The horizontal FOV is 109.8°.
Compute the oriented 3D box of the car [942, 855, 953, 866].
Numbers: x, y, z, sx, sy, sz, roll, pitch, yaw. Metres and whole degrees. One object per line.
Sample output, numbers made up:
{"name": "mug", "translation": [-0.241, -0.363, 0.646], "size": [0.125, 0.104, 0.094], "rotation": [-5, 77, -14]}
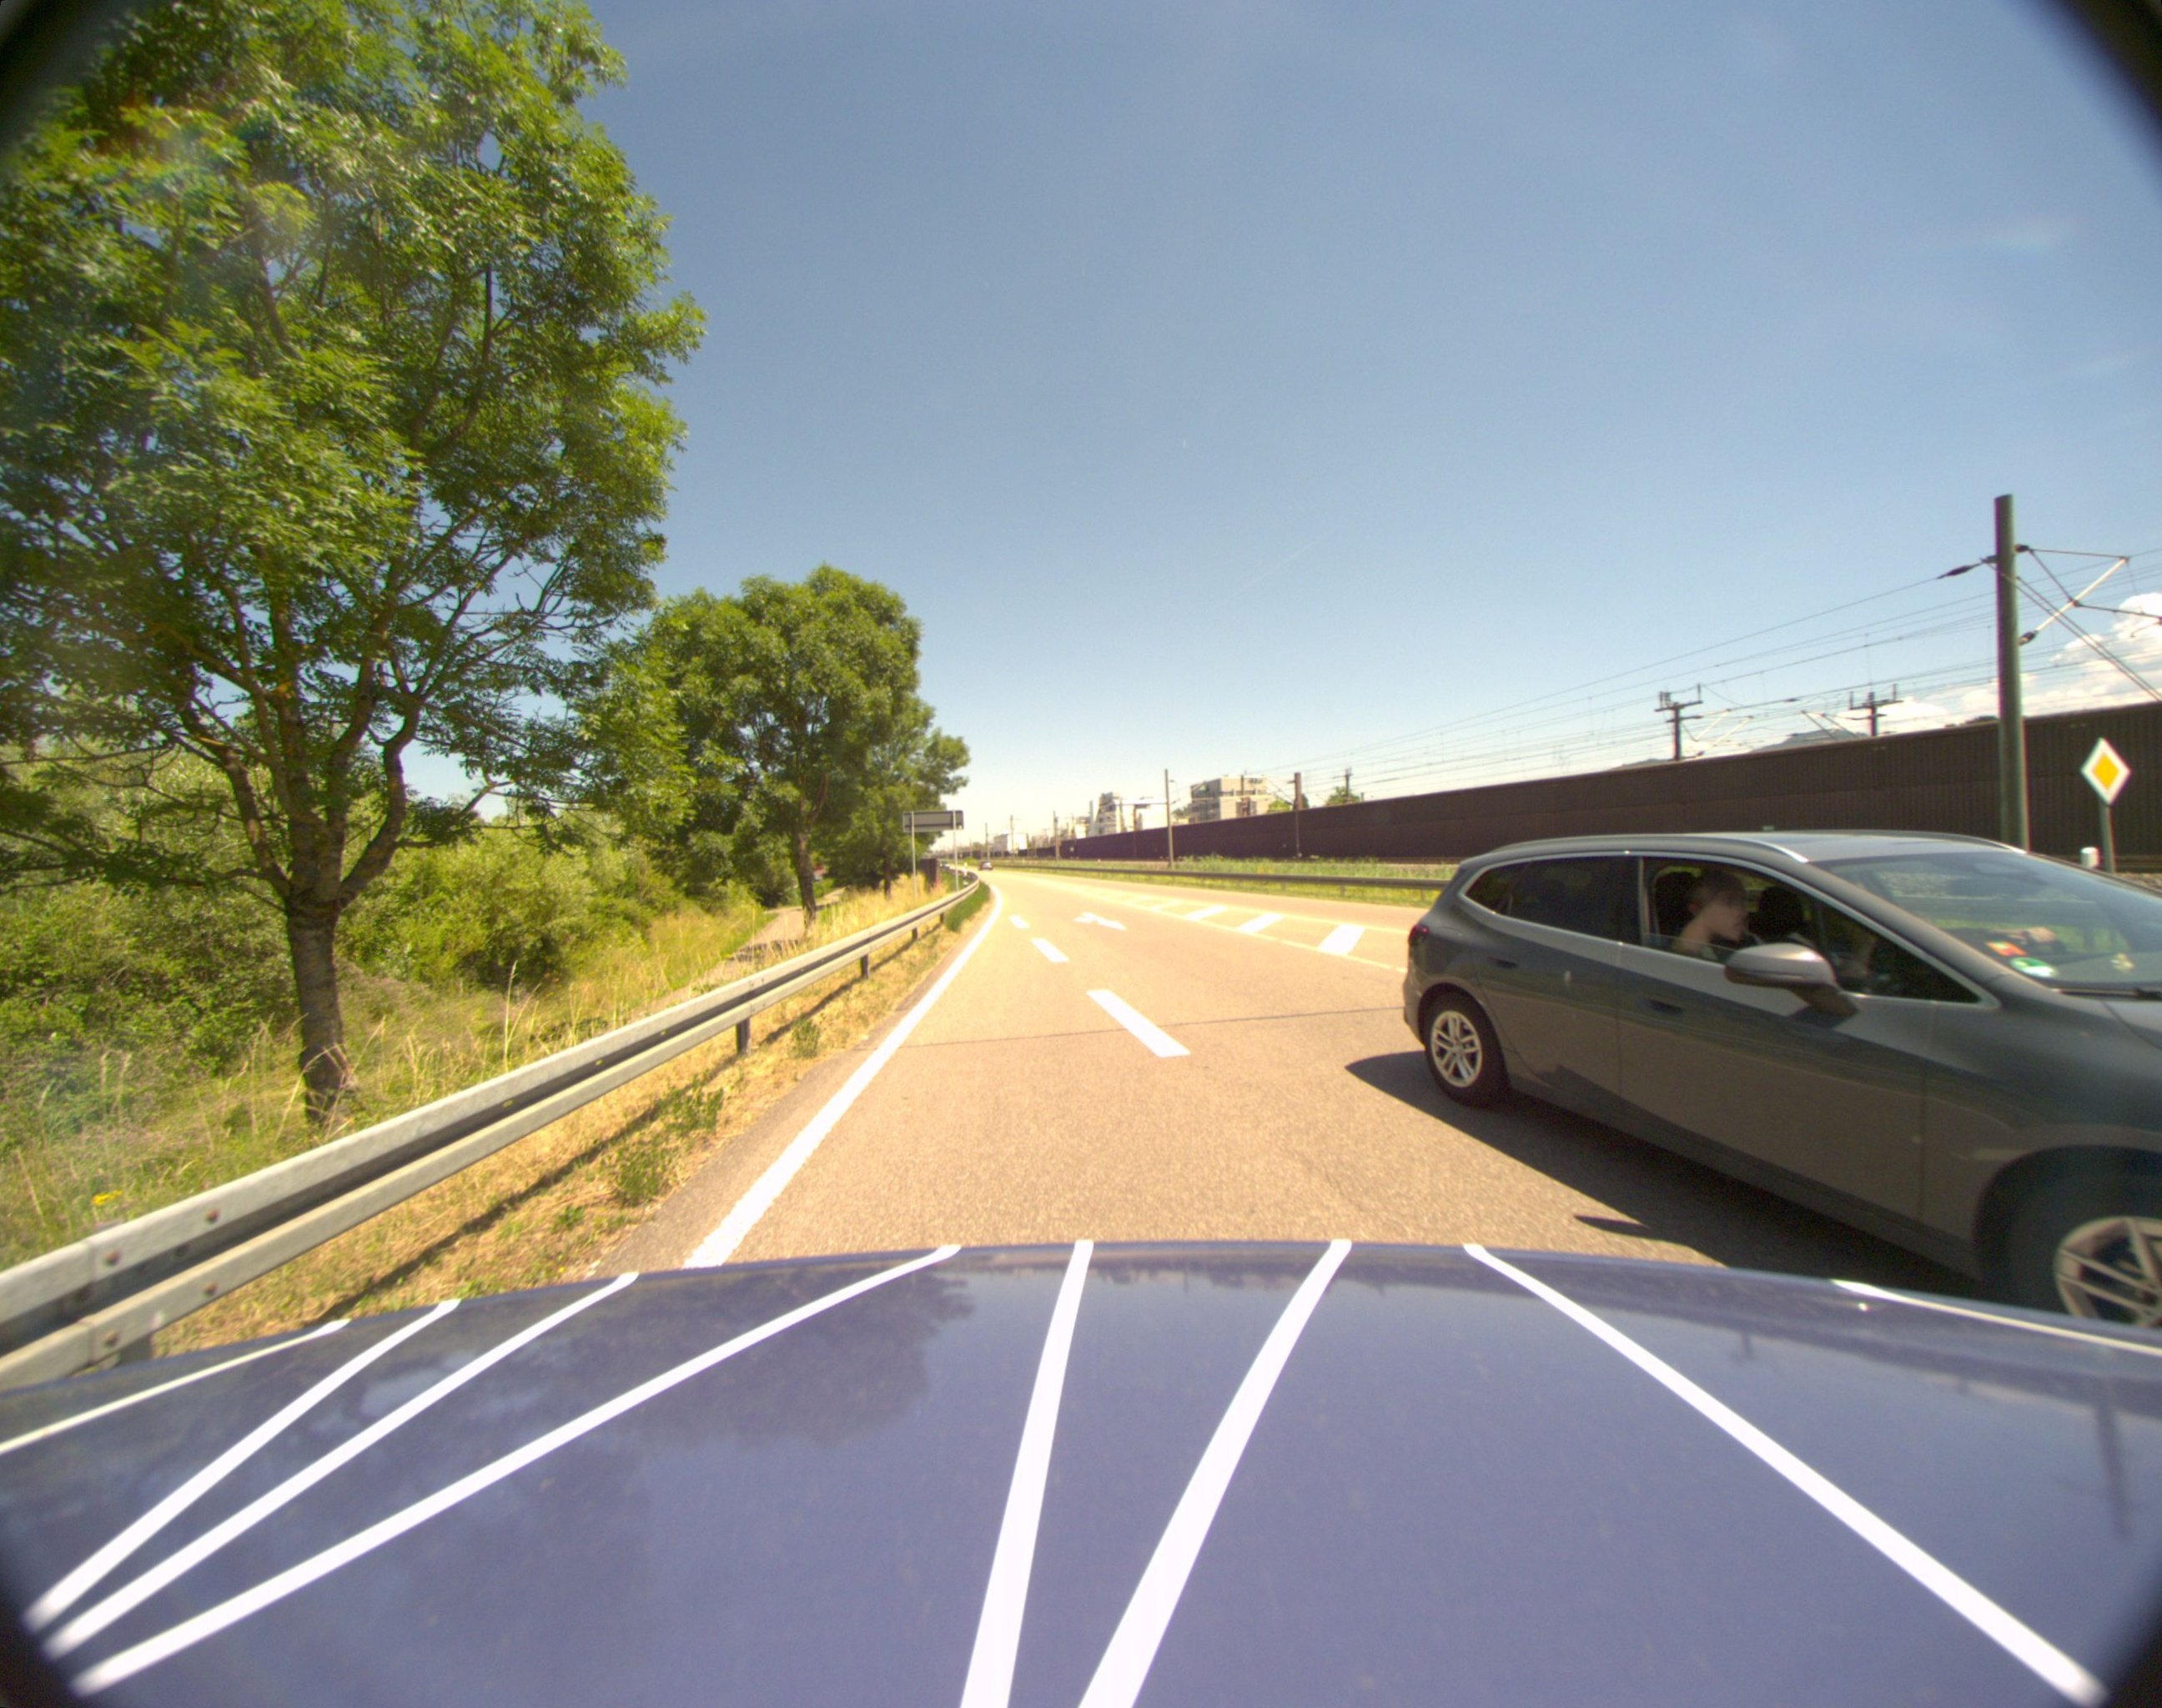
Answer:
{"name": "car", "translation": [-25.343, 1.233, 144.601], "size": [2.000, 2.002, 3.996], "rotation": [-2, 0, -9]}

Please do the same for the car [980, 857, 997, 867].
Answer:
{"name": "car", "translation": [-13.401, 1.137, 109.694], "size": [1.871, 1.476, 4.882], "rotation": [-2, 0, -13]}

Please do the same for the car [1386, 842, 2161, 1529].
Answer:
{"name": "car", "translation": [3.286, 0.786, 3.053], "size": [1.851, 1.613, 4.222], "rotation": [-2, 0, -10]}
